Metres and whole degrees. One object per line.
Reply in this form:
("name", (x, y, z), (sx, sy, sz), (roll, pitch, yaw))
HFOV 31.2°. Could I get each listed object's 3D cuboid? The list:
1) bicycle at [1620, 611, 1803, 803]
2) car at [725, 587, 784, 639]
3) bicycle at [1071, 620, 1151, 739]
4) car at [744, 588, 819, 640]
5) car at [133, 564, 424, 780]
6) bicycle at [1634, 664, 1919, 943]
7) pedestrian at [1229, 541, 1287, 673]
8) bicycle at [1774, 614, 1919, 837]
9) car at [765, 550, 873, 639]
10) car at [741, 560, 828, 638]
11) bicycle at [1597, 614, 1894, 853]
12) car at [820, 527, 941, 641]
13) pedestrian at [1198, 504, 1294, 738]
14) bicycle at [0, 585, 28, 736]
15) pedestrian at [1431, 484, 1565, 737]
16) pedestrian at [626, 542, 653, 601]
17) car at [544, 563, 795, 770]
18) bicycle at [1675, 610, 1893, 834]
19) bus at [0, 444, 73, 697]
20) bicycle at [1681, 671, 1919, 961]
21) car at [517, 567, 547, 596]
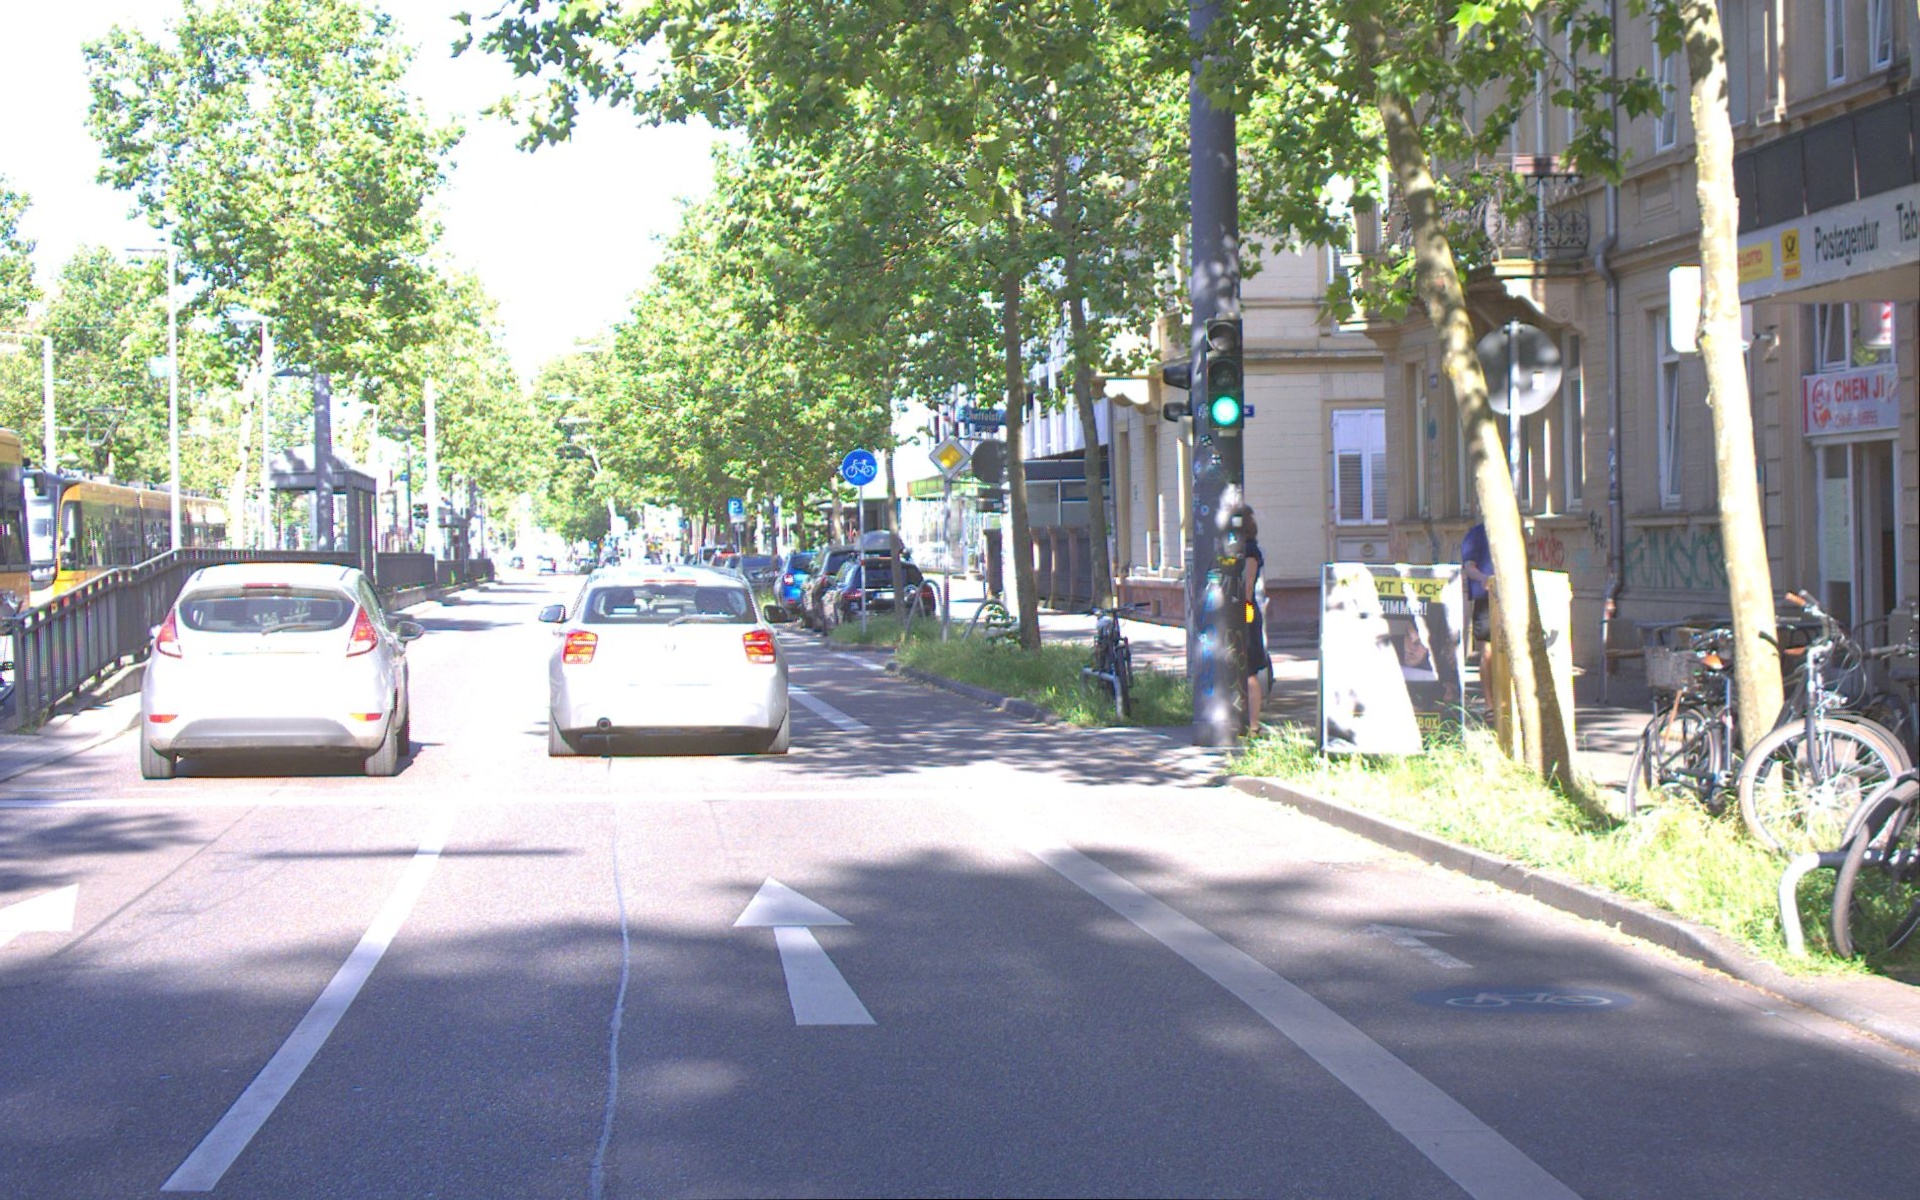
("bicycle", (4.183, 0.576, 19.235), (0.442, 0.990, 1.689), (1, 1, -7))
("car", (-6.512, 0.401, 108.858), (1.669, 1.546, 4.001), (1, 1, -6))
("bicycle", (1.312, 0.681, 30.159), (0.427, 0.967, 1.751), (1, 1, -6))
("car", (-5.401, 0.430, 103.614), (1.993, 1.504, 4.598), (1, 0, -6))
("car", (-4.701, 0.447, 24.130), (1.646, 1.358, 3.760), (1, 1, -6))
("bicycle", (3.552, 0.751, 12.752), (2.013, 0.990, 0.444), (1, 1, -8))
("pedestrian", (4.150, 0.093, 47.882), (0.564, 1.820, 0.959), (1, 1, -9))
("bicycle", (4.459, 0.581, 16.618), (0.442, 0.990, 1.689), (1, 1, -7))
("car", (-2.839, -0.137, 68.396), (1.797, 1.694, 4.738), (0, 1, -6))
("car", (-3.985, -0.047, 77.448), (1.691, 1.652, 4.040), (-1, 1, -6))
("bicycle", (3.541, 0.578, 15.631), (0.442, 0.990, 1.689), (1, 1, -20))
("car", (-1.482, -0.312, 62.179), (1.754, 1.958, 4.738), (-1, 1, -6))
("pedestrian", (2.197, 0.151, 26.491), (0.642, 1.765, 0.868), (1, 1, 0))
("bicycle", (-8.031, 0.487, 28.797), (0.328, 1.210, 1.829), (0, 1, -12))
("pedestrian", (4.355, 0.080, 27.881), (0.882, 2.007, 0.857), (1, 1, -3))
("pedestrian", (-11.036, -0.985, 118.443), (0.838, 2.007, 0.648), (1, 1, 1))
("car", (-2.303, 0.455, 26.467), (1.762, 1.427, 4.001), (1, 1, -7))
("bicycle", (3.948, 0.561, 16.581), (0.442, 0.990, 1.689), (1, 1, -7))
("bus", (-14.534, -0.401, 47.148), (2.868, 3.432, 11.613), (0, 1, -6))
("bicycle", (3.624, 0.766, 12.280), (2.003, 0.990, 0.444), (1, 1, -8))
("car", (-30.197, -1.298, 242.492), (1.993, 2.007, 4.001), (1, 1, -6))
